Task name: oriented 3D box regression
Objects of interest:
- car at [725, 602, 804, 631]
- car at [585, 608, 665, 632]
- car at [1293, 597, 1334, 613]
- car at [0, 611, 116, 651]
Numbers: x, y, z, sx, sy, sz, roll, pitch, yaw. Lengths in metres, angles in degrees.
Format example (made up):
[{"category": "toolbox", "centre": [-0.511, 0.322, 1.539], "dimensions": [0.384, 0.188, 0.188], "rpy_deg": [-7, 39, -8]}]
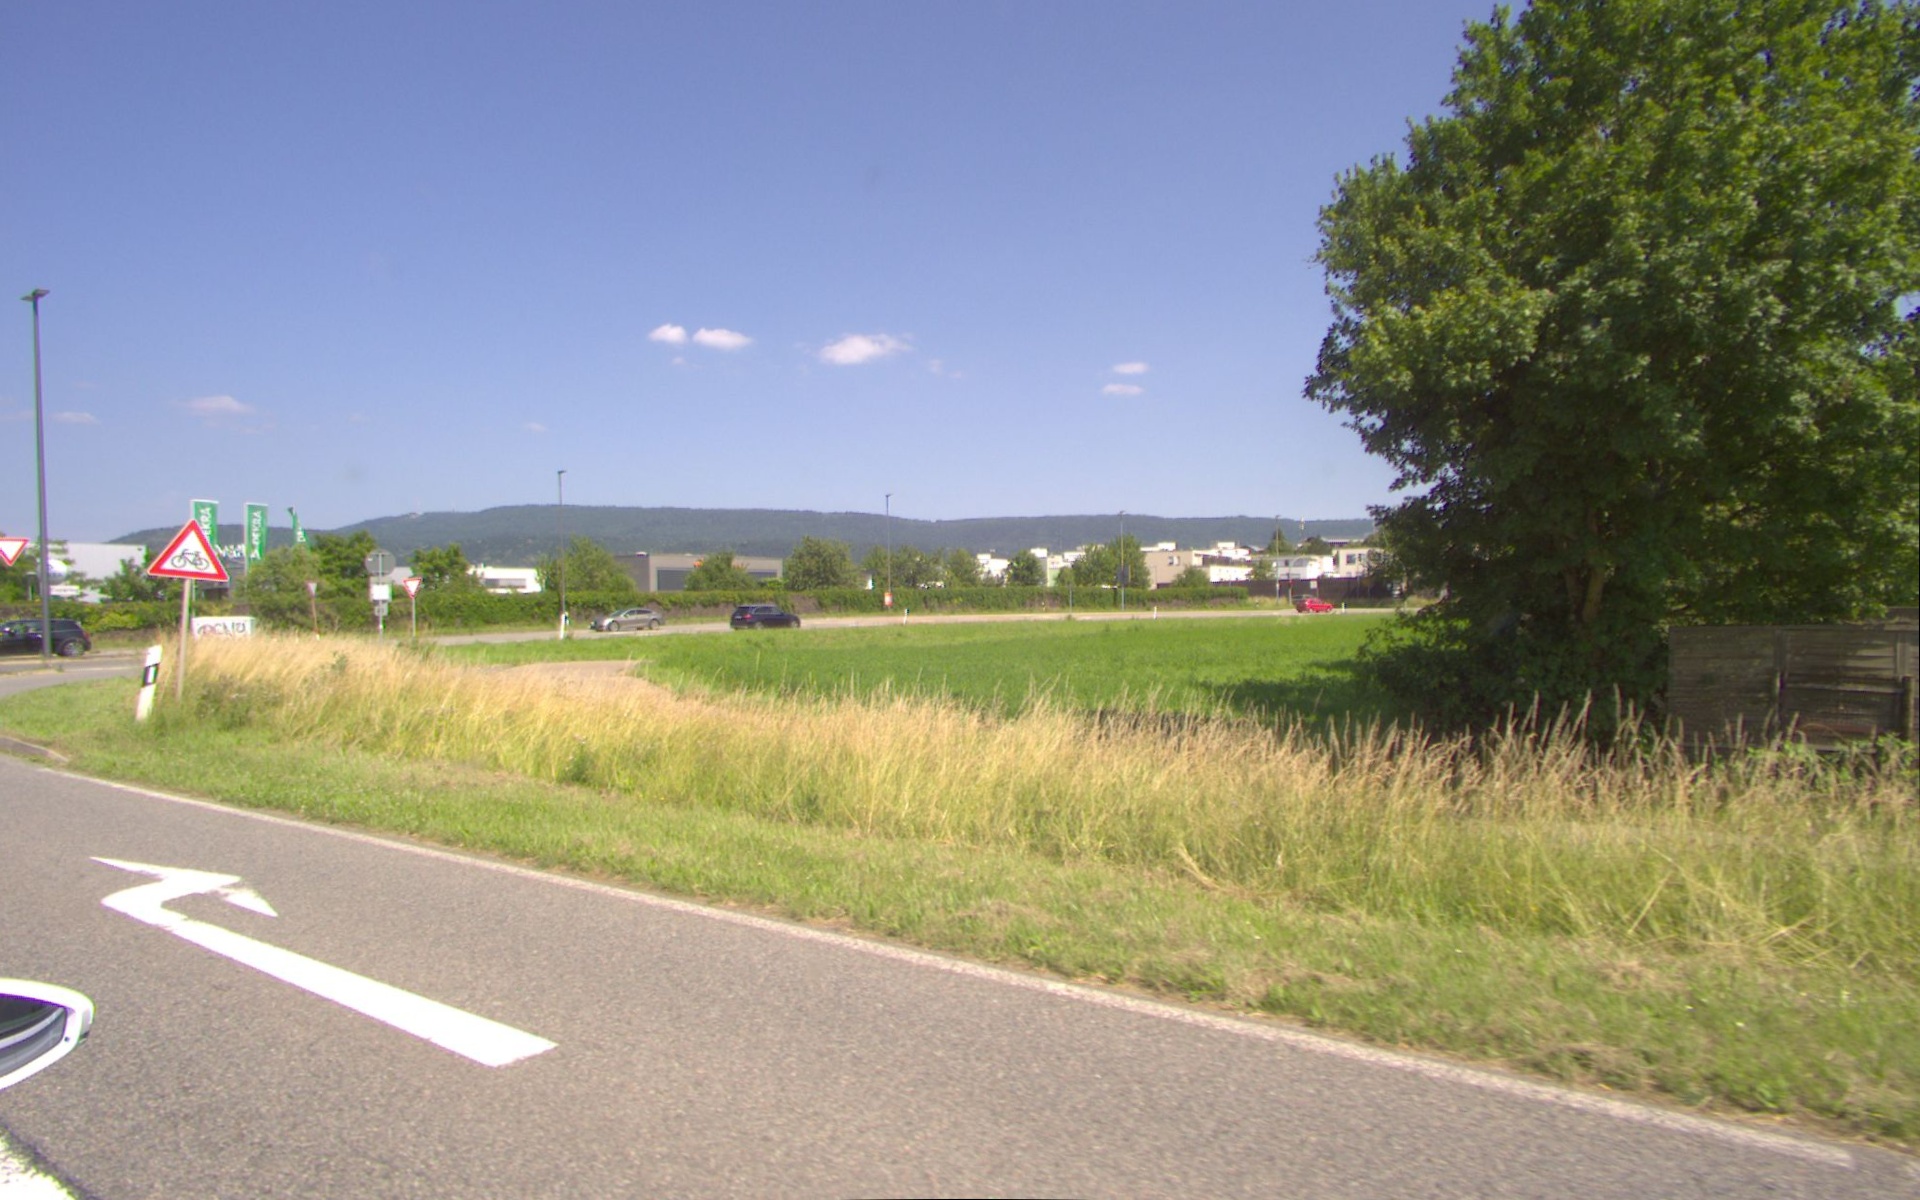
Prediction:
[{"category": "car", "centre": [-11.566, 0.946, 59.464], "dimensions": [1.977, 1.638, 4.304], "rpy_deg": [0, 0, 41]}, {"category": "car", "centre": [-20.550, 1.202, 61.588], "dimensions": [1.786, 1.344, 4.339], "rpy_deg": [-1, 0, 43]}, {"category": "car", "centre": [36.528, 0.476, 103.583], "dimensions": [3.938, 1.567, 1.767], "rpy_deg": [-1, 1, -26]}, {"category": "car", "centre": [-33.333, 1.112, 36.350], "dimensions": [1.786, 1.344, 3.965], "rpy_deg": [0, 0, 43]}]
